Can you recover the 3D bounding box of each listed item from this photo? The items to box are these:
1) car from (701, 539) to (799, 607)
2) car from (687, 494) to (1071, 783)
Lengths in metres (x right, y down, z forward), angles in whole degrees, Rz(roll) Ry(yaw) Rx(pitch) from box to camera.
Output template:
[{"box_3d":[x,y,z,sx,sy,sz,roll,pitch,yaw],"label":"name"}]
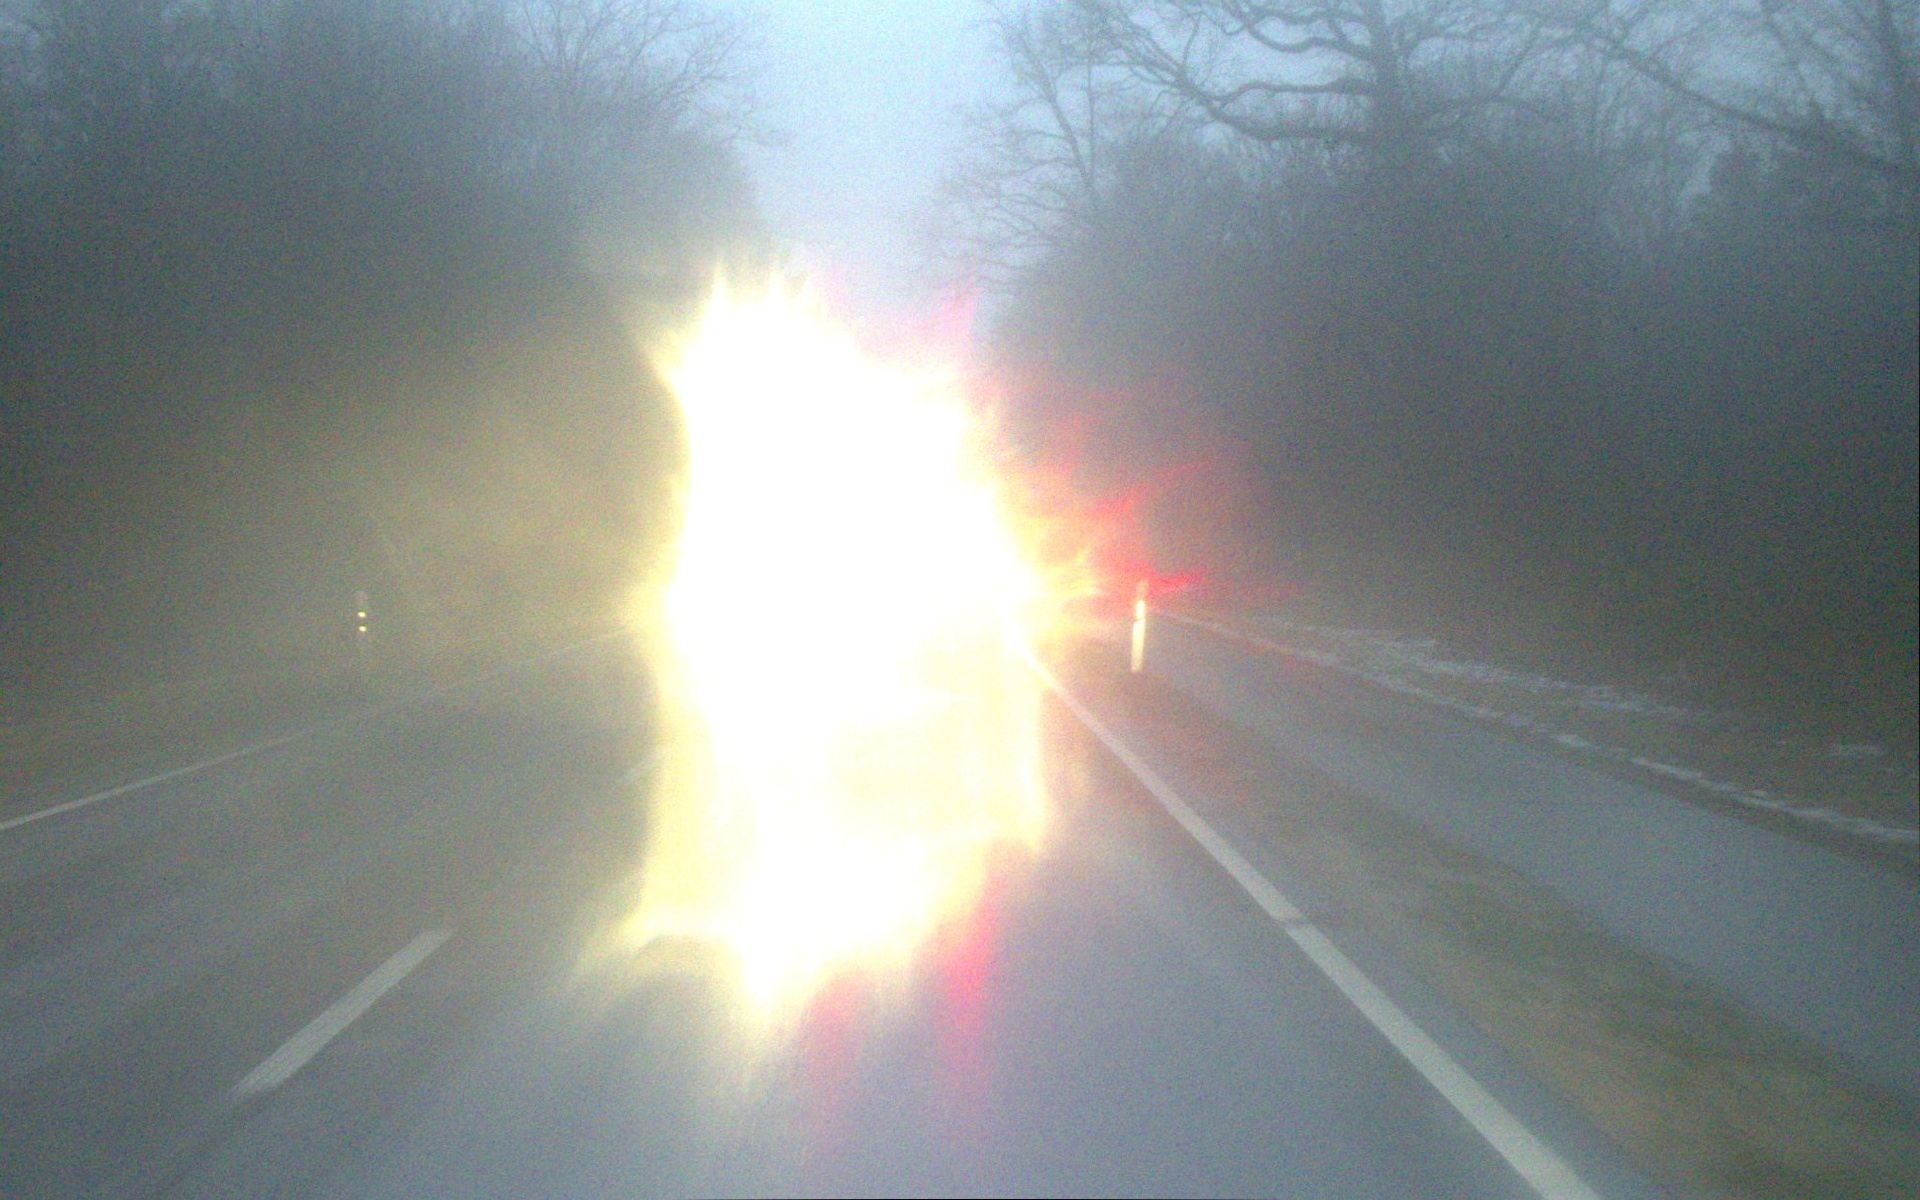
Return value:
[{"box_3d":[-5.193,-0.699,85.584,1.975,1.562,4.927,-2,1,2],"label":"car"},{"box_3d":[-0.658,0.288,32.048,3.183,2.378,6.636,1,1,0],"label":"car"}]
